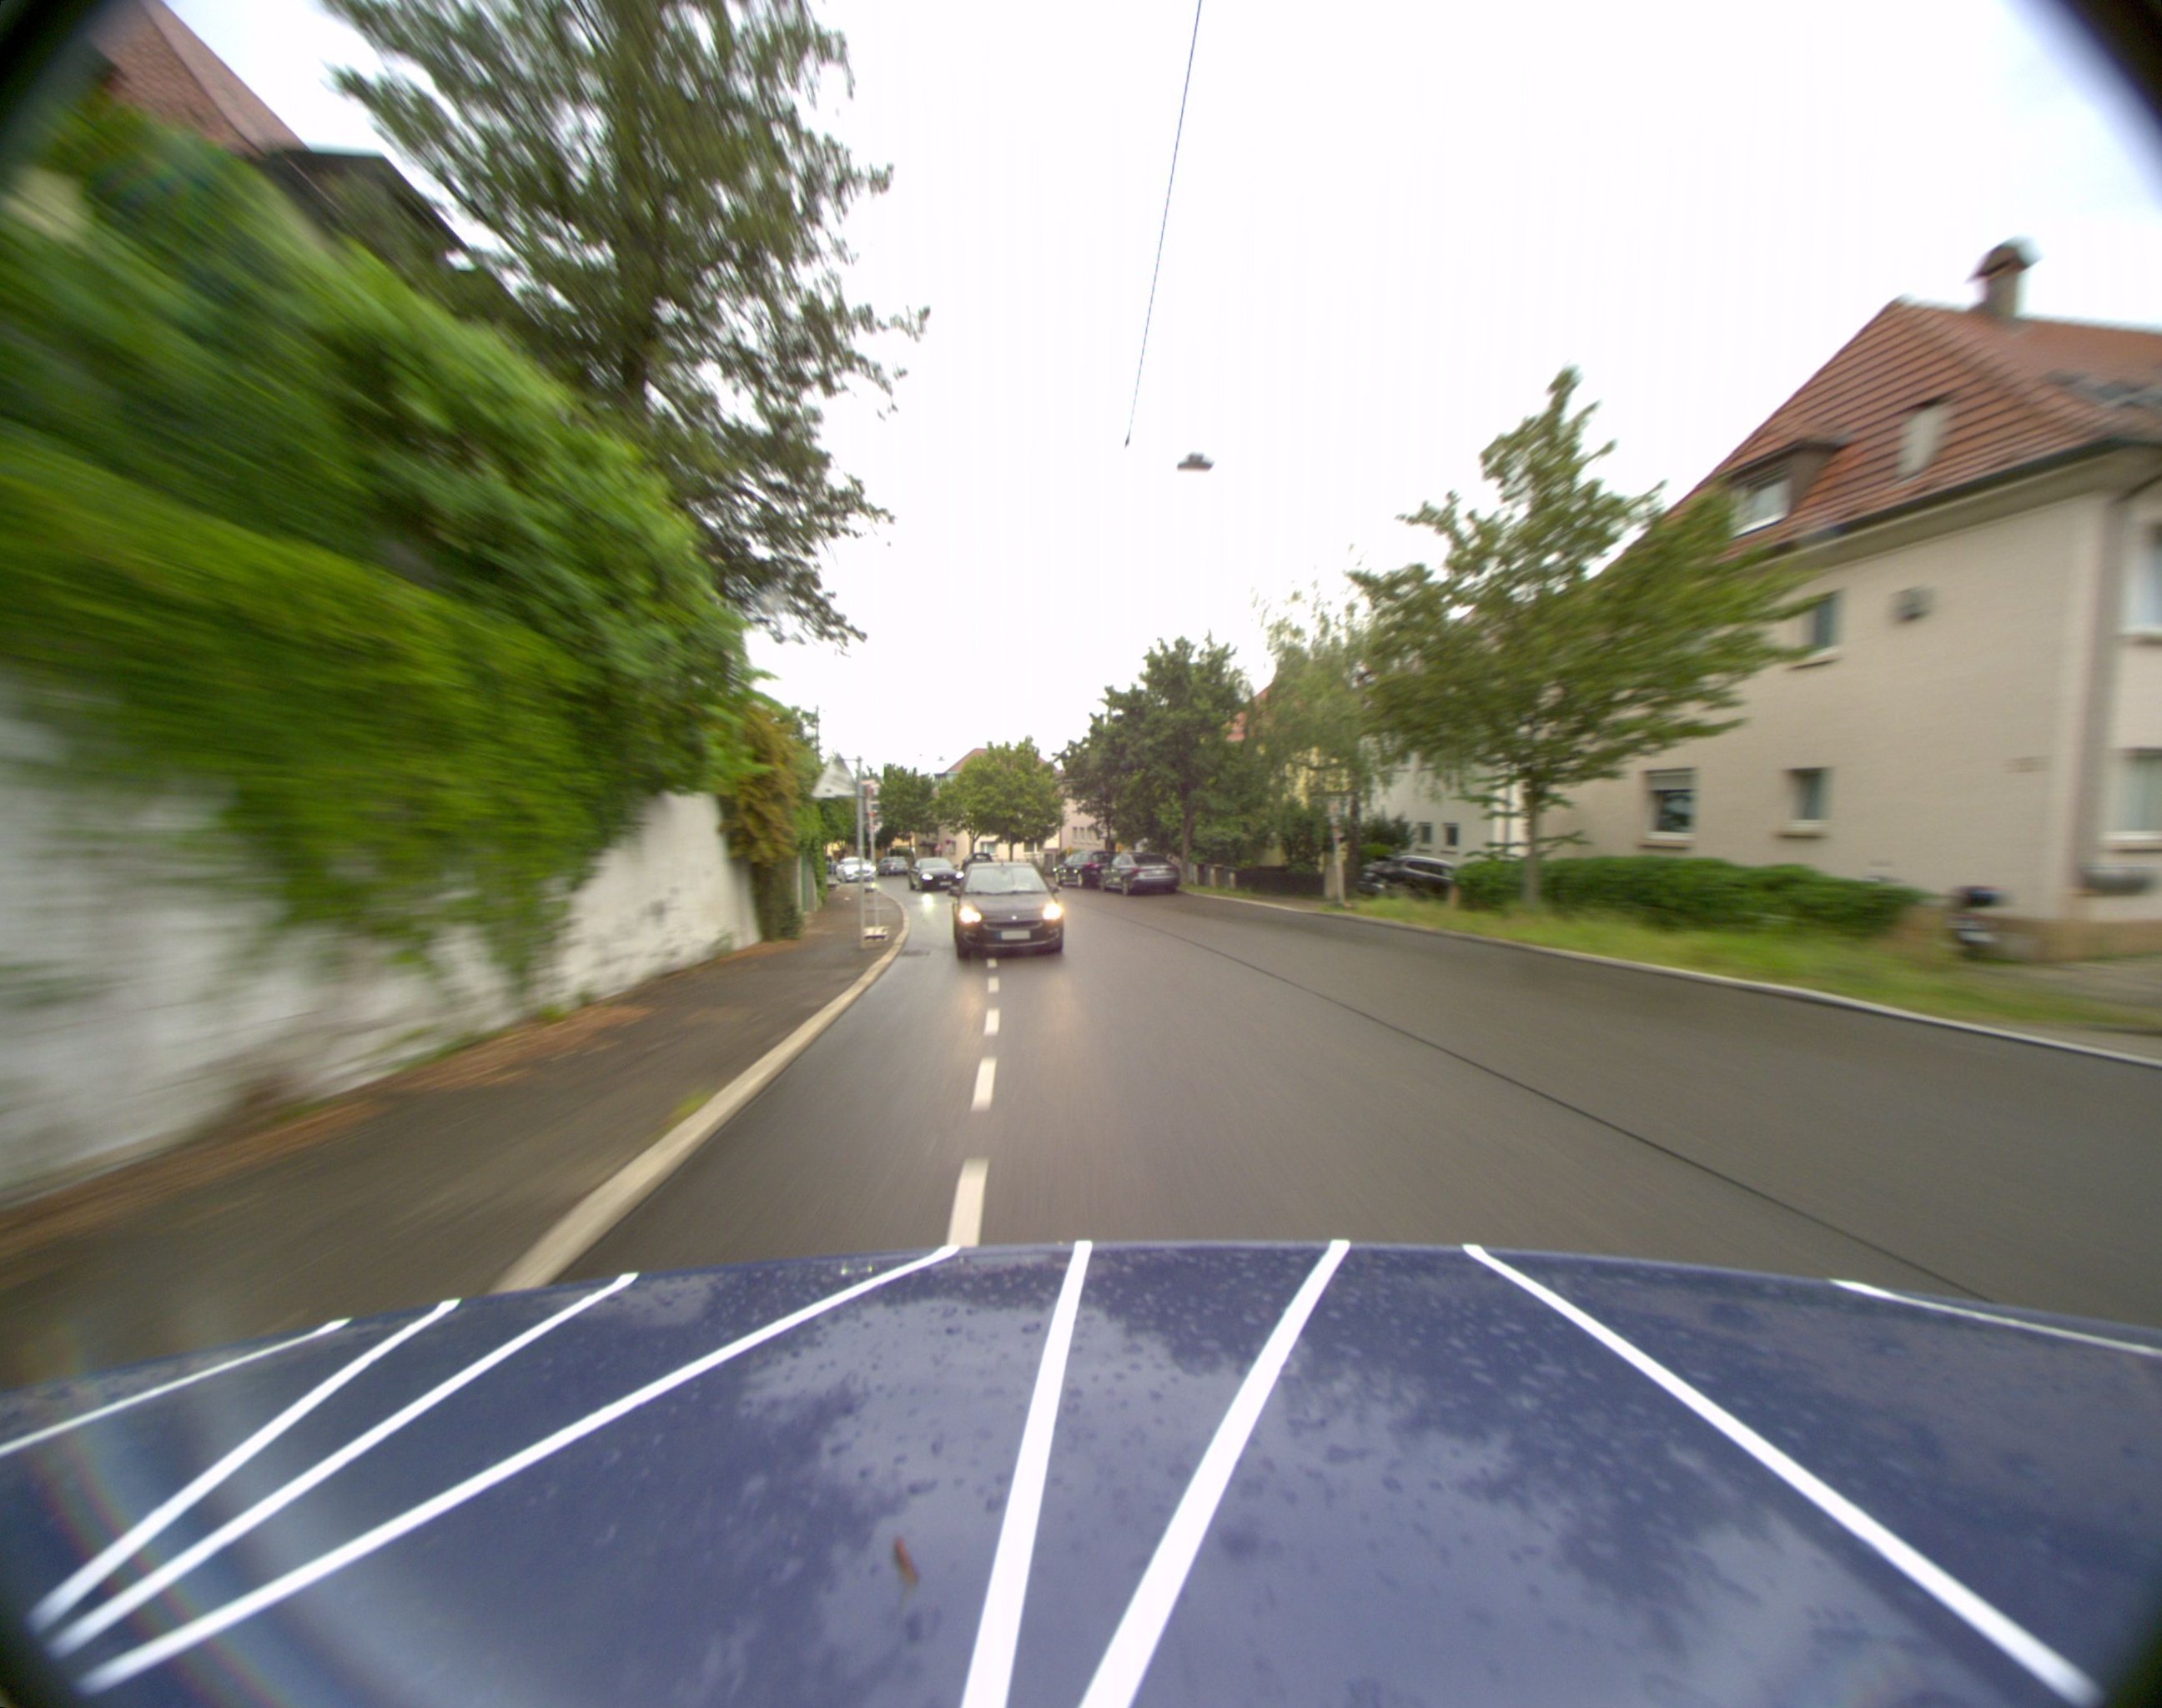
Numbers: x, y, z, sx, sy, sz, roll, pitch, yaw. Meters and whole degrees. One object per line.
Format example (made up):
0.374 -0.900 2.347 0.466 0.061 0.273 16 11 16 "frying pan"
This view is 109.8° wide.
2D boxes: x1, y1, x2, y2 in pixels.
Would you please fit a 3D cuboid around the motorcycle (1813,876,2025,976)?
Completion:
12.064 0.979 11.048 0.734 1.241 1.967 -2 1 -10 "motorcycle"

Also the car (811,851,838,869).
-28.799 0.666 85.212 1.827 2.000 4.551 0 0 -34 "car"

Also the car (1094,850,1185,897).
1.955 0.612 26.754 1.713 1.375 4.523 -3 2 -15 "car"

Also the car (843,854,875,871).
-21.712 0.822 74.181 1.817 1.604 4.498 -1 0 -31 "car"

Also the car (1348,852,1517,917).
10.774 0.904 23.487 4.252 1.496 1.912 6 1 -6 "car"

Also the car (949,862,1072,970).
-1.363 0.922 13.259 1.748 1.434 4.355 -2 1 -9 "car"

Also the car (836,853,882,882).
-15.171 0.900 51.797 2.022 1.728 4.588 -5 2 -28 "car"

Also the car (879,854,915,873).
-15.709 0.775 64.703 1.726 1.537 4.283 -1 0 -32 "car"

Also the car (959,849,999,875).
-6.464 0.490 48.050 1.525 1.526 3.029 -1 0 -28 "car"

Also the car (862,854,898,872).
-18.330 0.820 69.166 1.830 1.500 4.727 -2 1 -33 "car"

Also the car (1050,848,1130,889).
0.276 0.518 31.230 1.739 1.475 4.521 -3 2 -20 "car"
